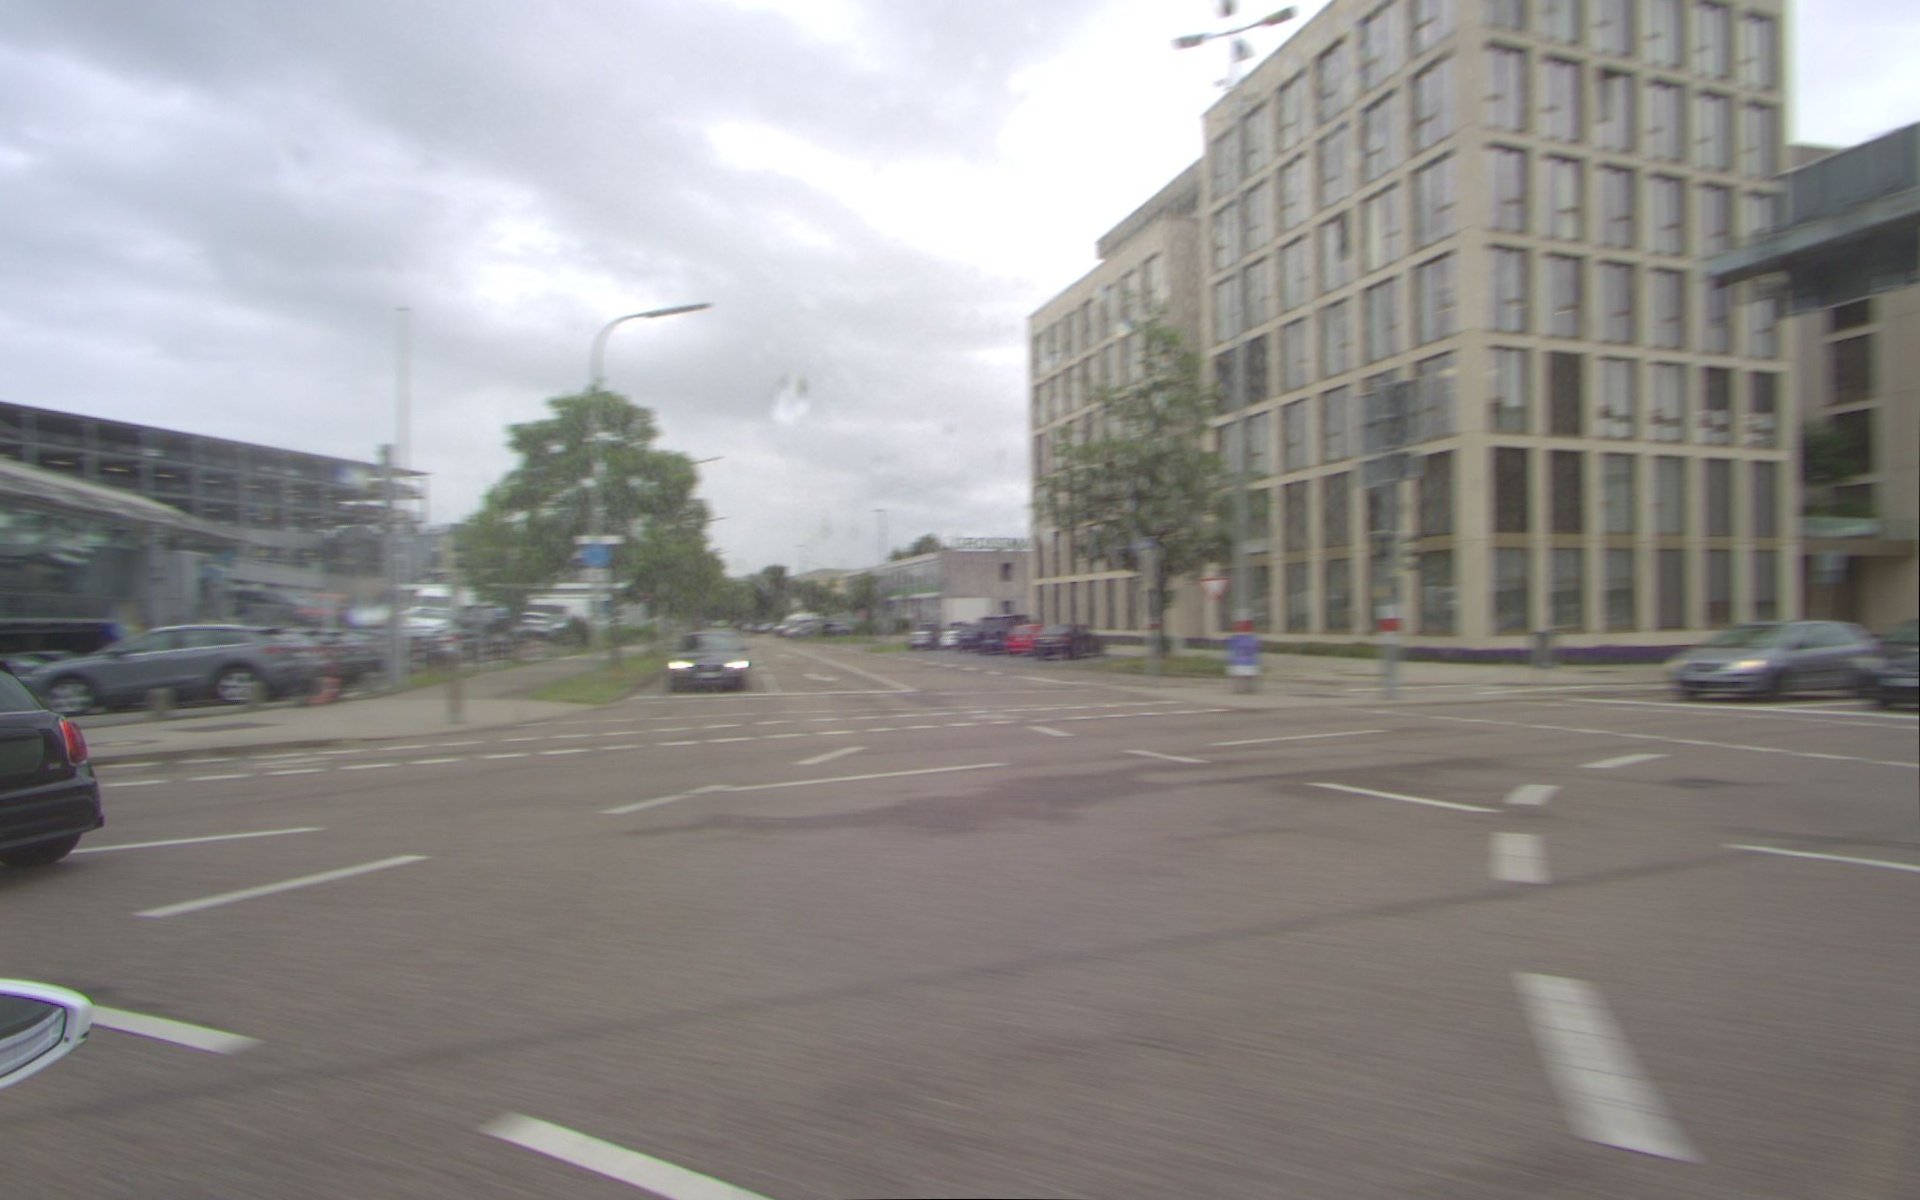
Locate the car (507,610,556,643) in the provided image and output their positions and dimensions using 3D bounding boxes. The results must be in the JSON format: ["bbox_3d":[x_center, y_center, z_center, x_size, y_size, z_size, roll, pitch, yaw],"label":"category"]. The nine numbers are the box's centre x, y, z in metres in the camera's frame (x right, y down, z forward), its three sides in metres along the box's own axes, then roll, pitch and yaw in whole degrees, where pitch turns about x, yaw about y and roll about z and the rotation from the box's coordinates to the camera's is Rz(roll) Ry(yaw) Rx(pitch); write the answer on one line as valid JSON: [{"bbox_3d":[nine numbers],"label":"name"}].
[{"bbox_3d":[-22.515,1.447,52.742,1.966,1.638,3.993,1,-2,-18],"label":"car"}]

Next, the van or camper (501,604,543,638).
[{"bbox_3d":[-27.388,1.358,62.711,1.966,2.039,3.993,1,-2,-18],"label":"van or camper"}]

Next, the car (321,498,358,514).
[{"bbox_3d":[-79.647,-12.002,128.564,3.928,1.689,1.998,0,-1,17],"label":"car"}]

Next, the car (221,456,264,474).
[{"bbox_3d":[-83.272,-15.673,116.222,3.928,1.689,1.998,0,-1,17],"label":"car"}]

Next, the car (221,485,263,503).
[{"bbox_3d":[-83.198,-12.235,116.099,3.928,1.689,1.998,0,-1,17],"label":"car"}]

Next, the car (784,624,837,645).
[{"bbox_3d":[-15.117,3.471,101.224,5.100,2.039,2.140,1,-2,-17],"label":"car"}]

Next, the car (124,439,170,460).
[{"bbox_3d":[-86.305,-15.935,106.293,3.928,1.689,1.998,0,-1,17],"label":"car"}]

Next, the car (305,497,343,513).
[{"bbox_3d":[-80.236,-12.021,126.379,3.928,1.689,1.998,0,-1,17],"label":"car"}]

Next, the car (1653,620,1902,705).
[{"bbox_3d":[15.220,1.158,18.669,4.028,1.450,1.748,2,-2,-19],"label":"car"}]

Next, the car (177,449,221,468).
[{"bbox_3d":[-84.616,-15.713,111.404,3.928,1.689,1.998,0,-1,17],"label":"car"}]

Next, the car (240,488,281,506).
[{"bbox_3d":[-82.545,-12.162,118.188,3.928,1.689,1.998,0,-1,17],"label":"car"}]

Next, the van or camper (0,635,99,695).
[{"bbox_3d":[-30.280,2.047,31.851,3.931,1.838,1.844,1,-2,-19],"label":"van or camper"}]

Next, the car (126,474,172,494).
[{"bbox_3d":[-86.153,-12.320,106.387,3.928,1.689,1.998,0,-1,17],"label":"car"}]

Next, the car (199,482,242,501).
[{"bbox_3d":[-83.891,-12.295,113.645,3.928,1.689,1.998,0,-1,17],"label":"car"}]

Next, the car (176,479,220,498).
[{"bbox_3d":[-84.634,-12.343,111.250,3.928,1.689,1.998,0,-1,17],"label":"car"}]

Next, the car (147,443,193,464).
[{"bbox_3d":[-85.556,-15.833,108.423,3.928,1.689,1.998,0,-1,17],"label":"car"}]

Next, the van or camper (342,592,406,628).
[{"bbox_3d":[-29.345,0.536,50.267,1.966,1.671,3.993,1,-2,-19],"label":"van or camper"}]

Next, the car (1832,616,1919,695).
[{"bbox_3d":[19.991,1.122,20.176,4.079,1.509,1.869,2,-2,-19],"label":"car"}]

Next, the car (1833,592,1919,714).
[{"bbox_3d":[16.108,0.841,15.515,4.346,1.791,1.996,1,-2,-19],"label":"car"}]

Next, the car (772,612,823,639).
[{"bbox_3d":[-20.029,3.191,123.290,6.028,3.155,2.131,1,-2,-16],"label":"car"}]

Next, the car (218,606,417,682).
[{"bbox_3d":[-19.412,1.306,30.518,4.707,2.039,1.995,-2,-1,-21],"label":"car"}]

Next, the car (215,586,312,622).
[{"bbox_3d":[-38.208,0.255,55.029,3.930,1.861,1.757,1,-2,-18],"label":"car"}]

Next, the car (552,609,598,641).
[{"bbox_3d":[-20.660,1.393,53.817,1.965,1.638,3.995,1,-2,-17],"label":"car"}]

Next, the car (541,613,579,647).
[{"bbox_3d":[-25.300,1.907,63.470,1.966,2.039,3.993,1,-2,-18],"label":"car"}]

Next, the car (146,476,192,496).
[{"bbox_3d":[-85.823,-12.354,108.627,3.928,1.689,1.998,0,-1,17],"label":"car"}]

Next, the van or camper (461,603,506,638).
[{"bbox_3d":[-29.434,1.301,61.968,1.966,2.039,3.993,1,-2,-18],"label":"van or camper"}]

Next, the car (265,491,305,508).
[{"bbox_3d":[-81.650,-12.159,121.083,3.928,1.689,1.998,0,-1,17],"label":"car"}]

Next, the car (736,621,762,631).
[{"bbox_3d":[-41.838,5.123,198.417,4.717,1.915,2.140,1,-2,-17],"label":"car"}]

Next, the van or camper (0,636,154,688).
[{"bbox_3d":[-31.150,2.170,35.216,3.931,1.733,1.844,1,-2,-19],"label":"van or camper"}]

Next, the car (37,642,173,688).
[{"bbox_3d":[-35.893,2.740,42.169,3.933,1.861,1.756,2,-2,-21],"label":"car"}]

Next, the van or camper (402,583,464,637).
[{"bbox_3d":[-32.147,0.685,61.262,2.500,3.064,4.835,1,-2,-18],"label":"van or camper"}]

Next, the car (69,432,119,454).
[{"bbox_3d":[-87.645,-15.913,101.341,3.928,1.689,1.998,0,-1,17],"label":"car"}]

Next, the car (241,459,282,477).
[{"bbox_3d":[-82.506,-15.563,118.310,3.928,1.689,1.998,0,-1,17],"label":"car"}]

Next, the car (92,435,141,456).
[{"bbox_3d":[-87.233,-15.963,103.570,3.928,1.689,1.998,0,-1,17],"label":"car"}]

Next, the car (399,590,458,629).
[{"bbox_3d":[-27.029,0.540,51.016,1.966,1.846,3.993,1,-2,-18],"label":"car"}]

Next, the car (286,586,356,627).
[{"bbox_3d":[-31.741,0.372,49.877,1.966,1.872,3.993,1,-2,-18],"label":"car"}]

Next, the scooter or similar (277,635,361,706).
[{"bbox_3d":[-11.937,1.292,18.694,0.548,1.234,1.560,2,-1,-1],"label":"scooter or similar"}]

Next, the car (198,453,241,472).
[{"bbox_3d":[-84.019,-15.608,113.642,3.928,1.689,1.998,0,-1,17],"label":"car"}]

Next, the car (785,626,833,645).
[{"bbox_3d":[-15.778,3.741,104.412,4.717,1.915,2.140,1,-2,-17],"label":"car"}]
